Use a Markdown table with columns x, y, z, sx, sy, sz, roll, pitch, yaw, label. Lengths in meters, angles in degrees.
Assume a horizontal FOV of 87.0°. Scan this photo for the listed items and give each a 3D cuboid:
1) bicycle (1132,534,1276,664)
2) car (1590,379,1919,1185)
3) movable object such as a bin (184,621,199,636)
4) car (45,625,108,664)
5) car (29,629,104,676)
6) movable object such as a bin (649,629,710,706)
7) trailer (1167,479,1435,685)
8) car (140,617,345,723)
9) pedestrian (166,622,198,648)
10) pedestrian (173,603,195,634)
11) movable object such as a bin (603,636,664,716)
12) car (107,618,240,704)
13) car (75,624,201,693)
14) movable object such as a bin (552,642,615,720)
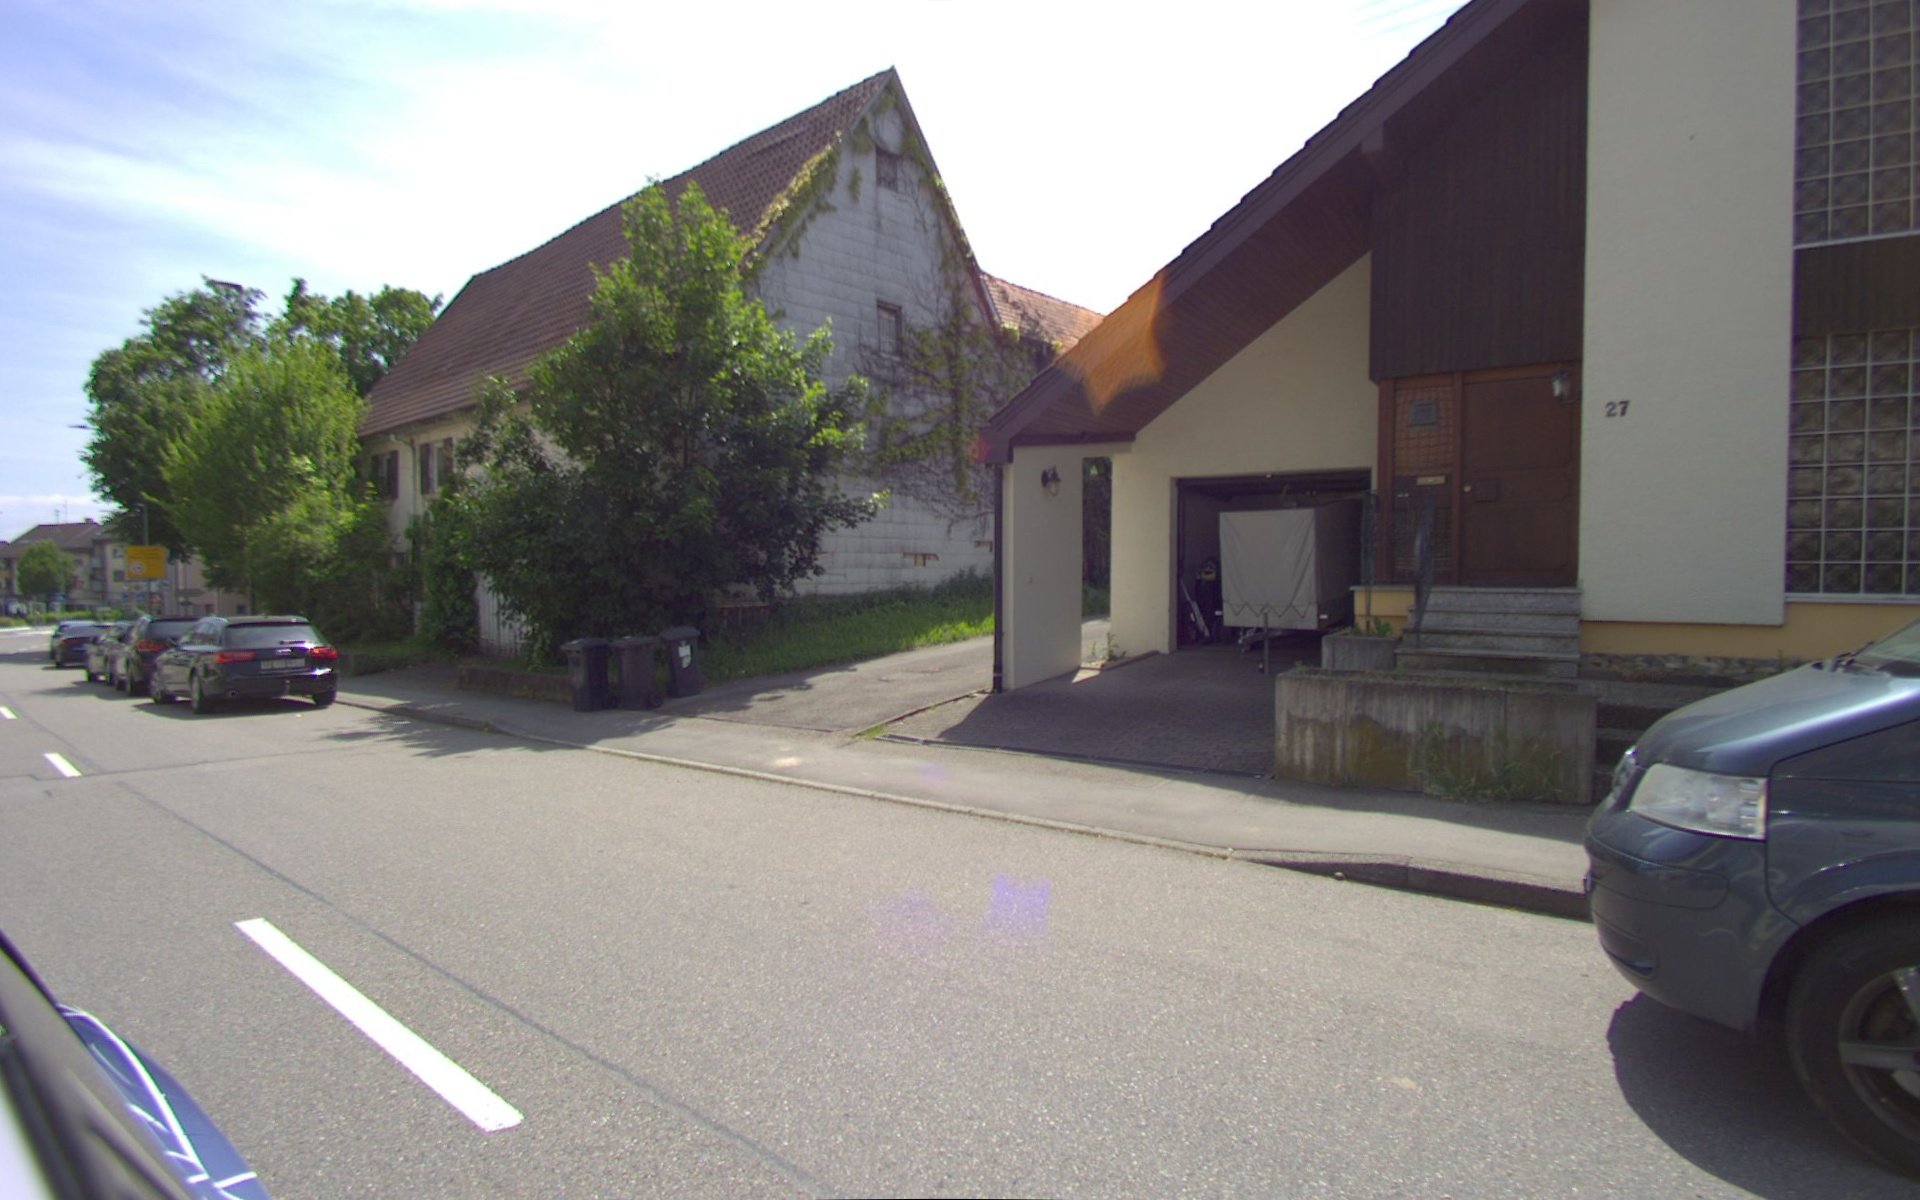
| x | y | z | sx | sy | sz | roll | pitch | yaw | label |
| --- | --- | --- | --- | --- | --- | --- | --- | --- | --- |
| 3.349 | -0.077 | 13.605 | 0.760 | 1.390 | 2.723 | -1 | 7 | 38 | bicycle |
| 4.315 | 0.428 | 2.041 | 4.980 | 1.952 | 1.872 | -1 | -1 | 39 | car |
| -54.749 | 2.048 | 72.113 | 0.790 | 1.008 | 0.807 | -4 | 2 | -37 | movable object such as a bin |
| -37.329 | 1.852 | 42.852 | 1.749 | 1.539 | 4.230 | 1 | -2 | -38 | car |
| -30.048 | 1.735 | 34.034 | 1.782 | 1.434 | 4.934 | 0 | -2 | -42 | car |
| -3.802 | 0.903 | 13.710 | 0.524 | 0.955 | 0.496 | -1 | 6 | 37 | movable object such as a bin |
| 4.391 | -0.347 | 12.652 | 1.997 | 2.027 | 3.797 | -1 | 7 | 38 | trailer |
| -11.936 | 1.065 | 16.699 | 4.775 | 1.484 | 1.799 | -2 | -1 | 42 | car |
| -40.752 | 1.836 | 53.017 | 1.220 | 1.278 | 0.648 | -3 | 1 | -35 | pedestrian |
| -41.586 | 0.994 | 54.233 | 0.627 | 1.628 | 0.725 | -1 | 1 | 31 | pedestrian |
| -4.204 | 0.973 | 13.055 | 0.527 | 0.945 | 0.469 | -1 | 5 | 39 | movable object such as a bin |
| -16.122 | 1.185 | 20.657 | 1.734 | 1.532 | 4.304 | -1 | -1 | -44 | car |
| -19.886 | 1.337 | 24.408 | 4.713 | 1.474 | 1.769 | -1 | -1 | 43 | car |
| -4.910 | 1.040 | 13.200 | 0.584 | 0.908 | 0.496 | 2 | 6 | 37 | movable object such as a bin |
